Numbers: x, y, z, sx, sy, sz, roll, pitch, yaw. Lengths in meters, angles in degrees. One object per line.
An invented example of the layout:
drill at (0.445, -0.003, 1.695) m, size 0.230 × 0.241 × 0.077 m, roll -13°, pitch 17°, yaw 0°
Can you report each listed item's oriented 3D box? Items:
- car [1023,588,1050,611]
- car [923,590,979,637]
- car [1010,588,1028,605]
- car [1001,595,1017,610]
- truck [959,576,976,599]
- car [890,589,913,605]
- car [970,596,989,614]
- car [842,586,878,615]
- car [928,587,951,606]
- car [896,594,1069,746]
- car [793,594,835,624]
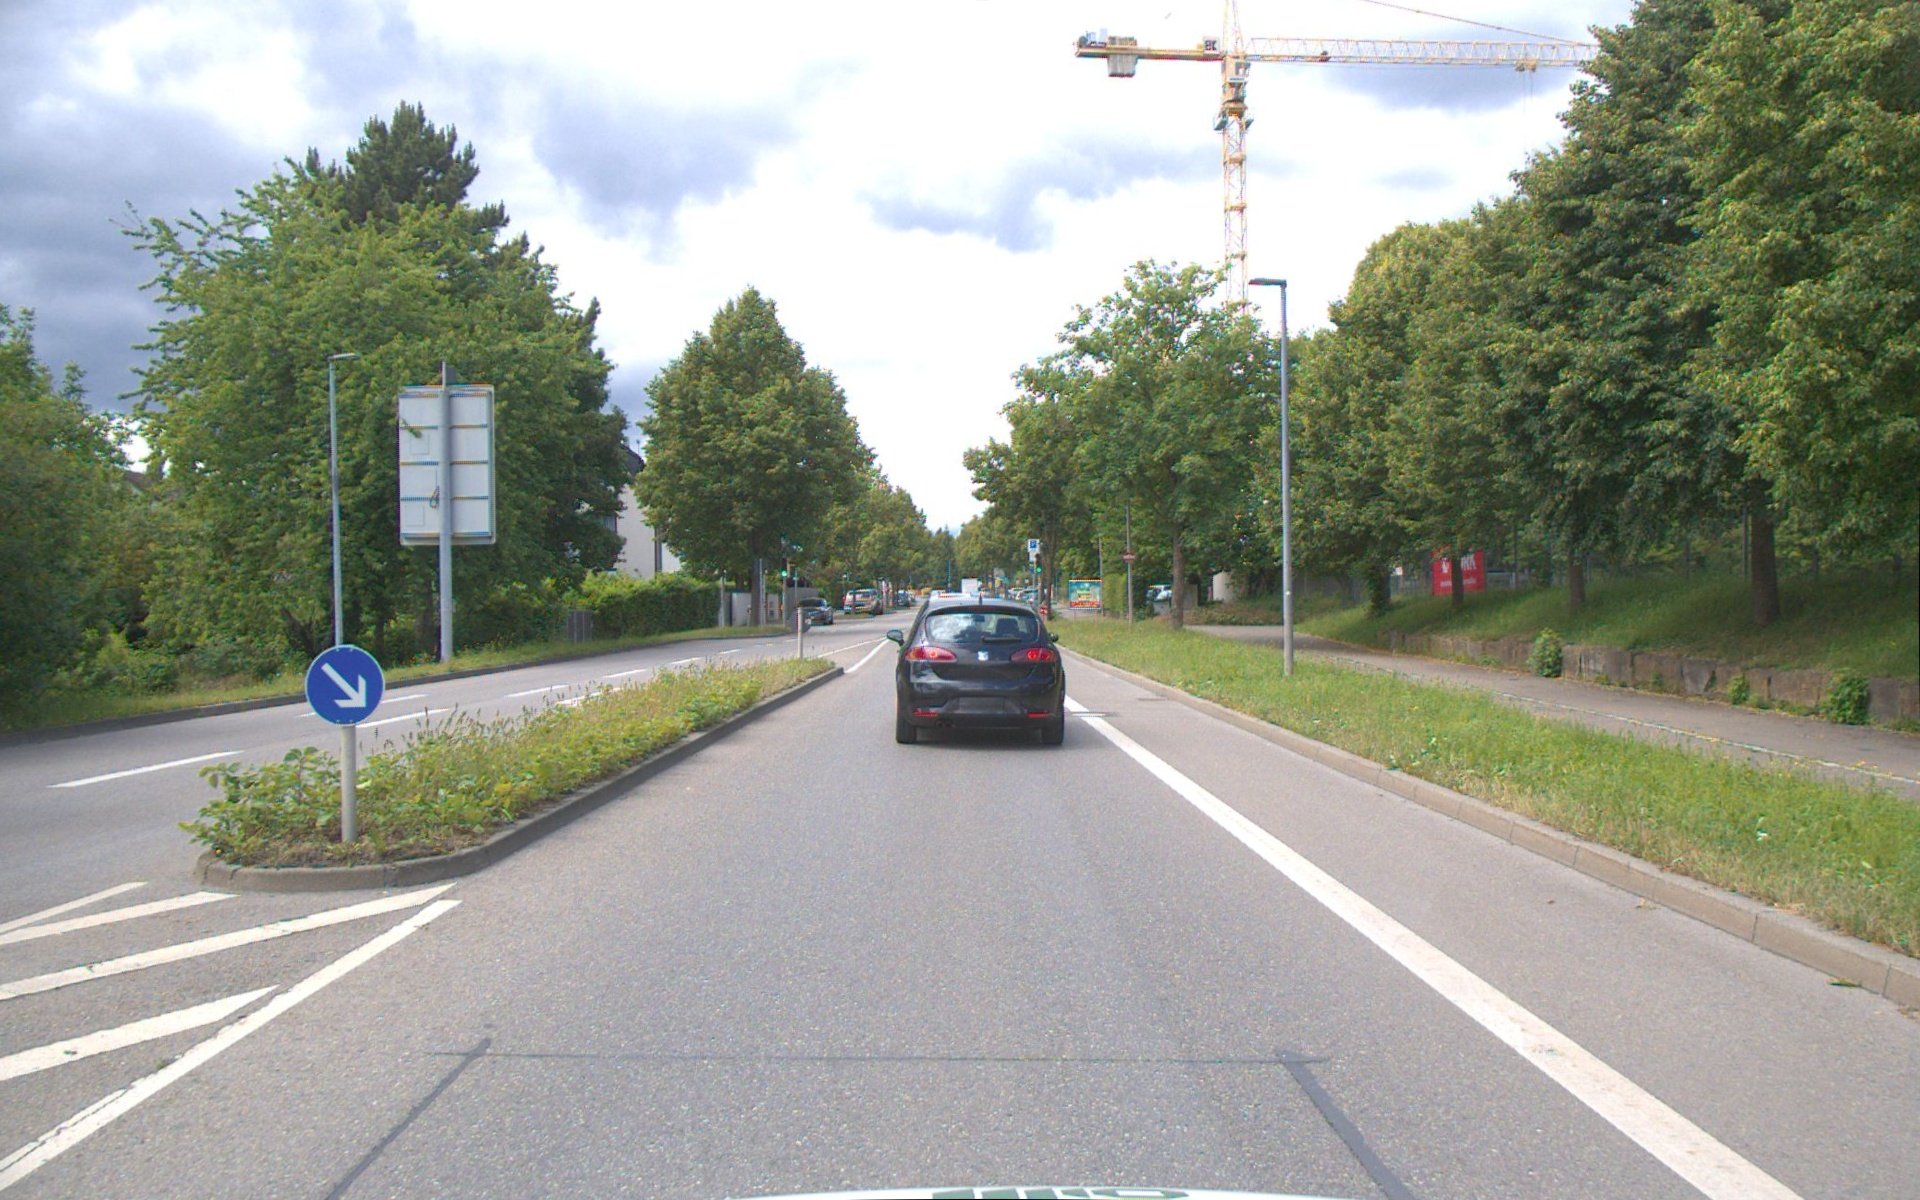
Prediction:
car at (5.132, -0.034, 110.858) m, size 1.653 × 1.516 × 3.355 m, roll -1°, pitch 0°, yaw 1°
car at (-0.276, 0.457, 57.772) m, size 1.808 × 1.536 × 3.812 m, roll 1°, pitch 0°, yaw 1°
car at (5.681, -0.337, 159.238) m, size 1.653 × 1.591 × 4.214 m, roll -1°, pitch 0°, yaw 1°
car at (5.408, 0.255, 183.611) m, size 1.653 × 1.591 × 4.214 m, roll -3°, pitch 0°, yaw 1°
truck at (1.083, -1.712, 236.073) m, size 2.232 × 3.158 × 8.510 m, roll 1°, pitch 0°, yaw 0°
car at (-6.114, -0.291, 173.673) m, size 2.057 × 1.532 × 5.784 m, roll -2°, pitch 0°, yaw 1°
car at (1.890, 0.491, 161.494) m, size 1.843 × 1.718 × 4.214 m, roll -1°, pitch 0°, yaw 1°
car at (-6.993, 0.030, 116.486) m, size 2.057 × 1.929 × 5.784 m, roll -2°, pitch 0°, yaw 1°
car at (-1.868, -0.331, 154.735) m, size 1.836 × 1.663 × 4.342 m, roll -2°, pitch 0°, yaw 3°
car at (0.198, 0.663, 17.629) m, size 1.629 × 1.426 × 3.811 m, roll 1°, pitch 0°, yaw -1°
car at (-7.673, 0.456, 87.062) m, size 1.683 × 1.419 × 4.801 m, roll -2°, pitch 0°, yaw 1°
